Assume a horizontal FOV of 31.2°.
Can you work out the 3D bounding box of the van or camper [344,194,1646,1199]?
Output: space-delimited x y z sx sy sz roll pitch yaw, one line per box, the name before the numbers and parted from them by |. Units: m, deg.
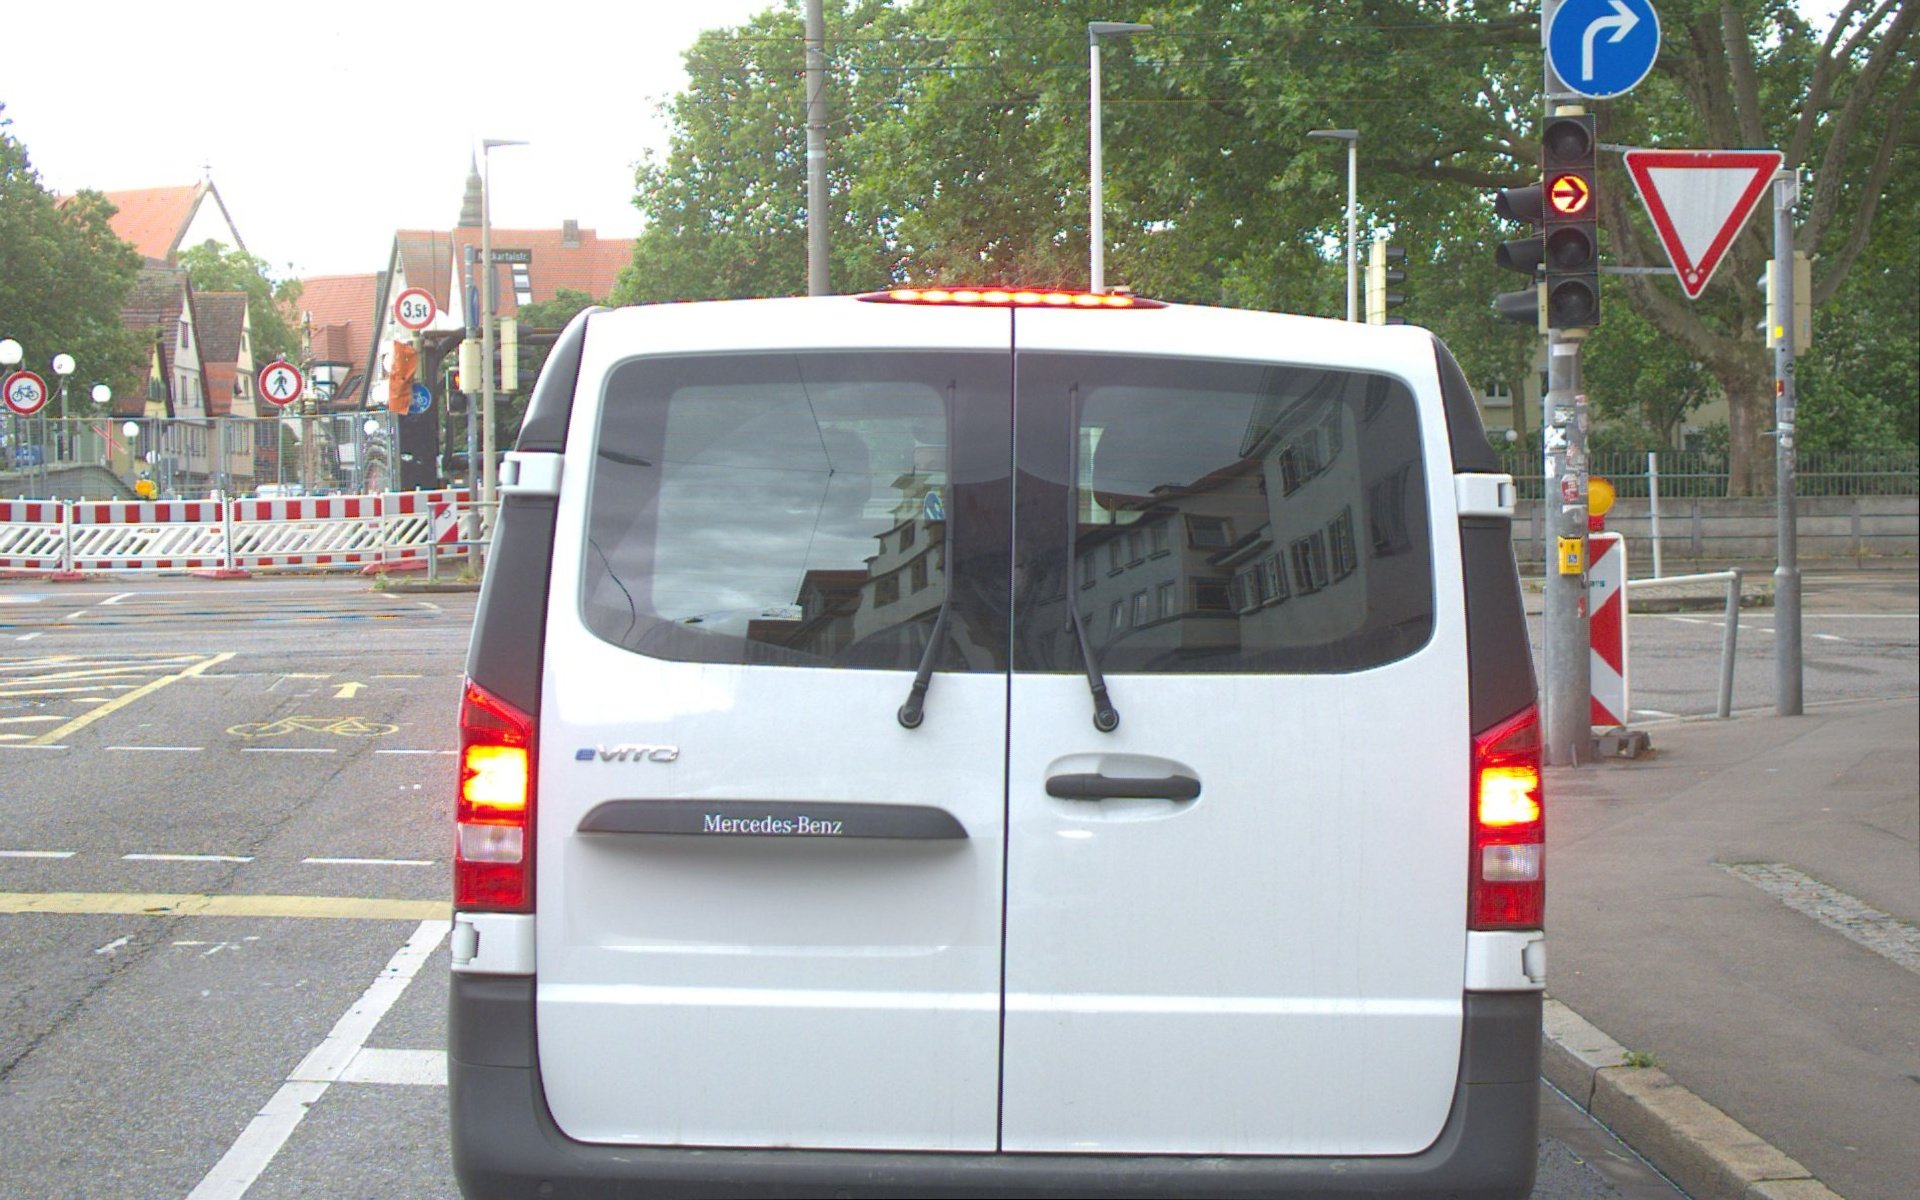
van or camper | -0.059 0.280 7.405 1.937 1.918 4.442 1 2 -3
